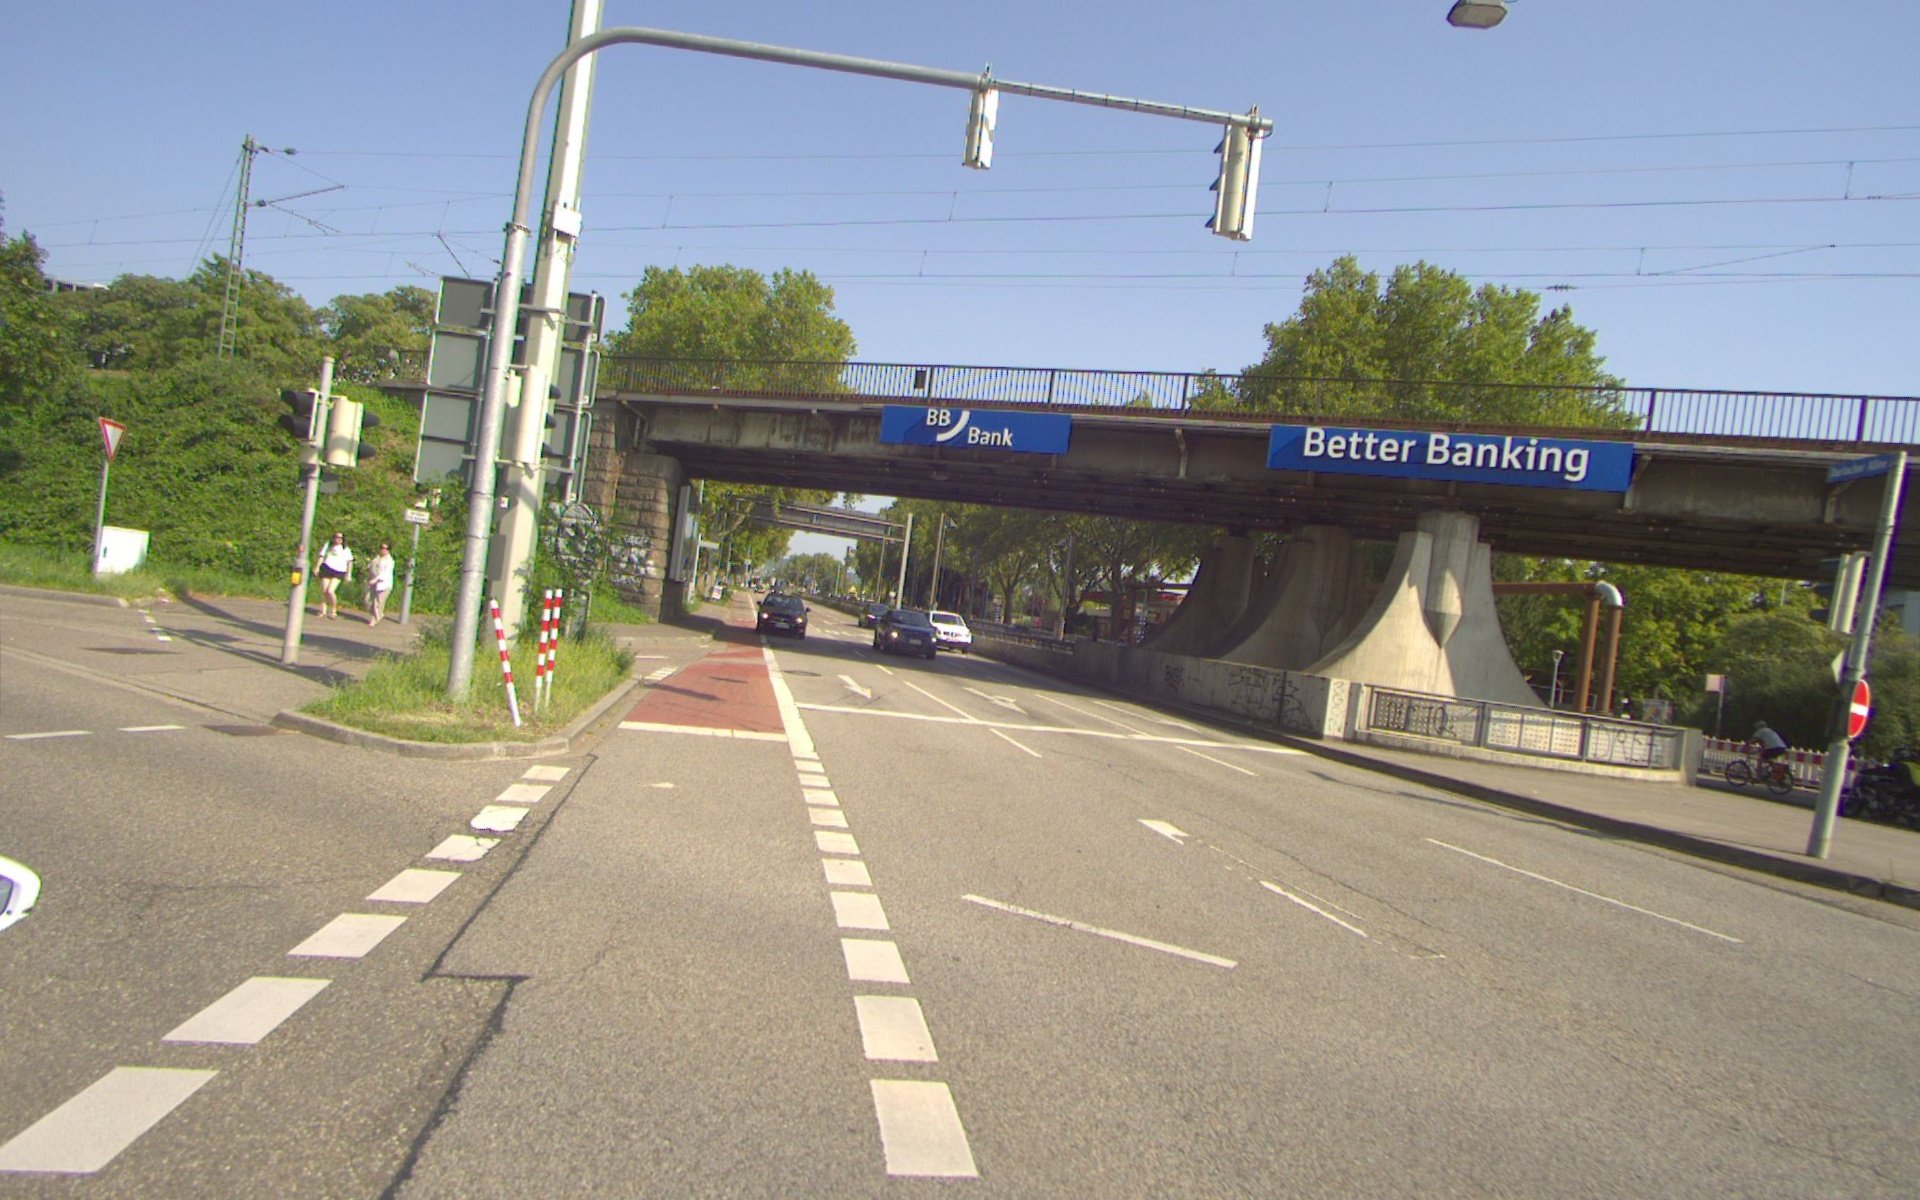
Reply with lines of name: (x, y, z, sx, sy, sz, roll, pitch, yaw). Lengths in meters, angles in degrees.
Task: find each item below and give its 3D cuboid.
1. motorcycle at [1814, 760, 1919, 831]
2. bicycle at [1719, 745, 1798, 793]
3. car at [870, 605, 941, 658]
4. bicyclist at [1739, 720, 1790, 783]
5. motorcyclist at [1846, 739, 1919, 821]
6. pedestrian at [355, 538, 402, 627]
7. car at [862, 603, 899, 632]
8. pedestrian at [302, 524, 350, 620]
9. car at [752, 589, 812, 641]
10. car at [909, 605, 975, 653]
motorcycle: (18.841, 3.987, 20.462, 0.743, 1.034, 2.161, 7, 0, -11)
bicycle: (20.250, 4.277, 25.532, 0.442, 0.943, 1.554, 5, -1, -15)
car: (-1.910, 1.018, 33.964, 1.591, 1.470, 3.991, 6, -1, -13)
bicyclist: (20.326, 3.816, 25.426, 0.436, 1.443, 0.810, 5, 0, -15)
motorcyclist: (18.880, 3.648, 20.441, 0.731, 1.449, 0.938, 7, 0, -11)
pedestrian: (-10.930, -0.323, 18.906, 0.567, 1.586, 0.531, 7, -1, -36)
car: (-4.895, 1.035, 61.648, 1.770, 1.528, 3.994, 6, -1, -10)
pedestrian: (-11.881, -0.517, 18.850, 0.566, 1.703, 0.487, 7, 3, -36)
car: (-6.464, 0.501, 36.640, 1.840, 1.551, 4.187, 8, -1, -10)
car: (-0.822, 1.173, 42.154, 1.977, 1.637, 4.210, 8, -1, -10)
